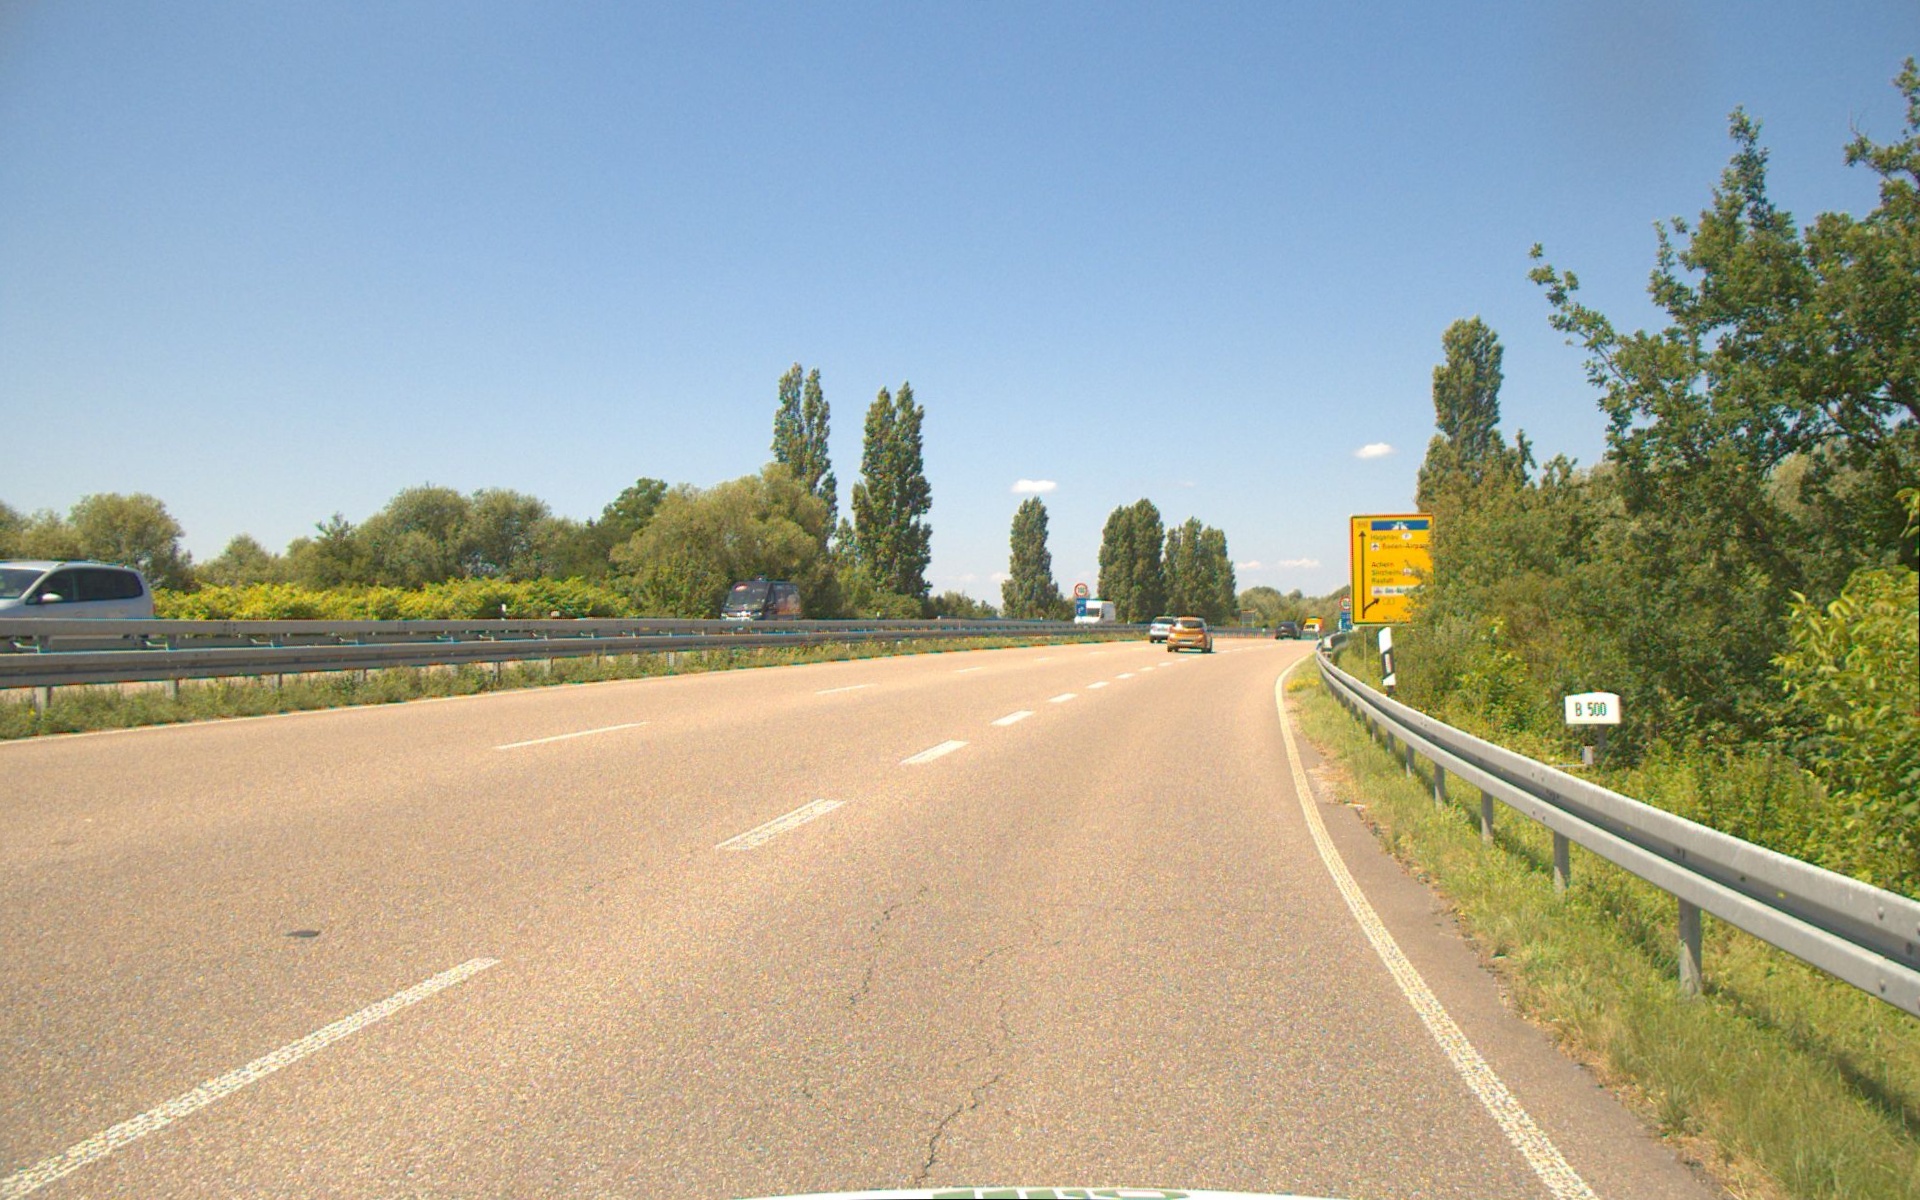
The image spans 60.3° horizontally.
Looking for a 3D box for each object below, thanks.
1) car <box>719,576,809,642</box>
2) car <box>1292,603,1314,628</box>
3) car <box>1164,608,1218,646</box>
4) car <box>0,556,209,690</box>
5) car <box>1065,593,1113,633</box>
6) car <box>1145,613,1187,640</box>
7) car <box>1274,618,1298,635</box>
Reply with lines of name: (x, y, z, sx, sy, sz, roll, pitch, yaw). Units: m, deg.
car: (-8.400, 0.430, 71.586, 2.157, 2.684, 5.629, 1, -2, 12)
car: (47.788, 2.192, 230.034, 2.257, 3.349, 7.031, 0, -1, 18)
car: (9.942, 1.143, 71.073, 1.802, 1.489, 4.003, 2, 0, 15)
car: (-14.438, 0.396, 26.276, 2.157, 1.926, 4.915, 1, -2, 9)
car: (9.795, 0.988, 124.968, 2.230, 2.822, 7.226, 0, -2, 15)
car: (11.841, 1.511, 94.904, 1.802, 1.476, 4.003, 2, 0, 15)
car: (30.095, 2.454, 152.506, 1.902, 1.489, 4.003, 2, 0, 15)
